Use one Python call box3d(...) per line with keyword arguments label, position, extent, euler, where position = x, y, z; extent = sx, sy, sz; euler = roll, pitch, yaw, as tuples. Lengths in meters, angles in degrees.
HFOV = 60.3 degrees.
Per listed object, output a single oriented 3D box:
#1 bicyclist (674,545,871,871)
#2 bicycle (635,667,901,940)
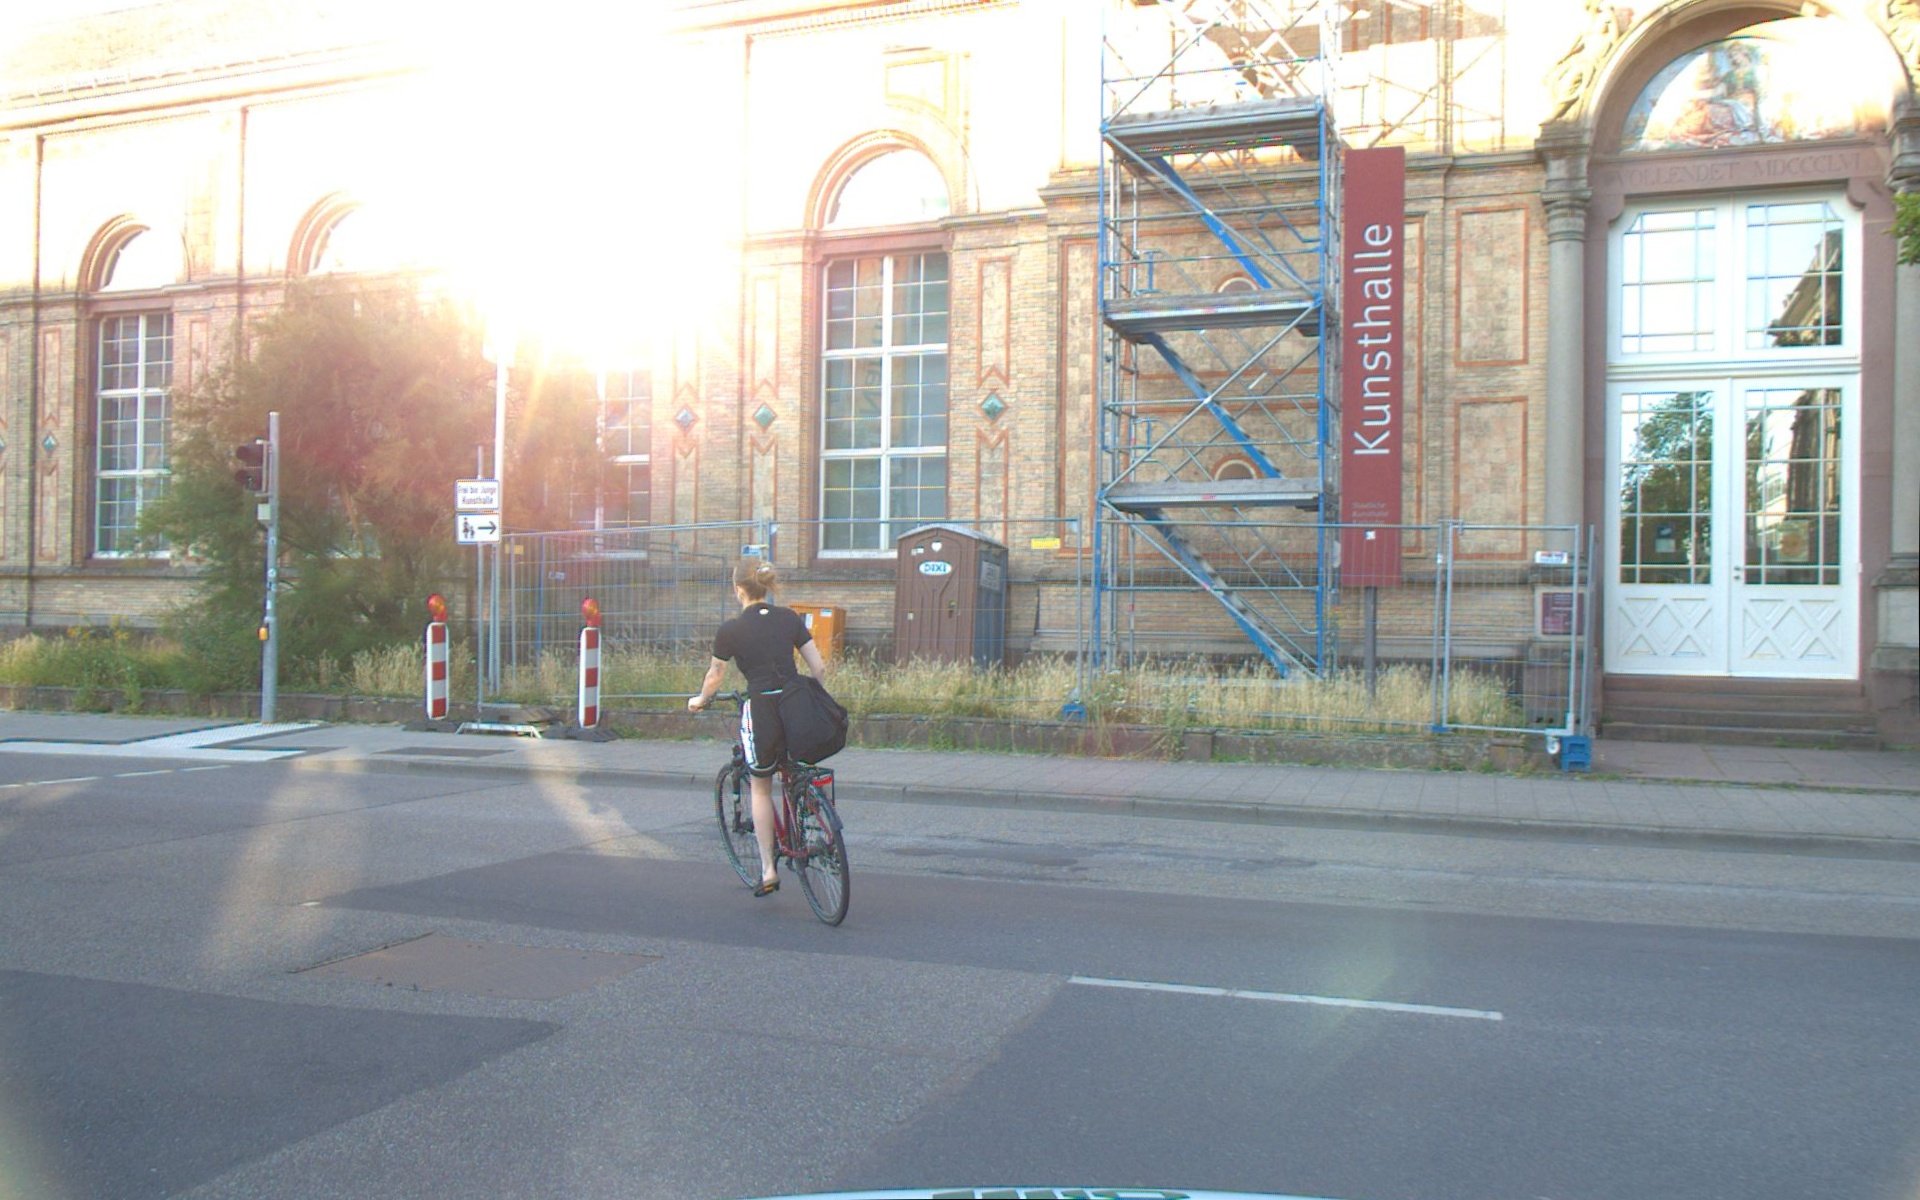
box3d(label="bicyclist", position=(-0.955, 0.524, 8.322), extent=(0.707, 1.529, 0.843), euler=(2, -2, -27))
box3d(label="bicycle", position=(-1.043, 0.956, 8.467), extent=(0.703, 1.176, 2.051), euler=(2, -2, -26))
